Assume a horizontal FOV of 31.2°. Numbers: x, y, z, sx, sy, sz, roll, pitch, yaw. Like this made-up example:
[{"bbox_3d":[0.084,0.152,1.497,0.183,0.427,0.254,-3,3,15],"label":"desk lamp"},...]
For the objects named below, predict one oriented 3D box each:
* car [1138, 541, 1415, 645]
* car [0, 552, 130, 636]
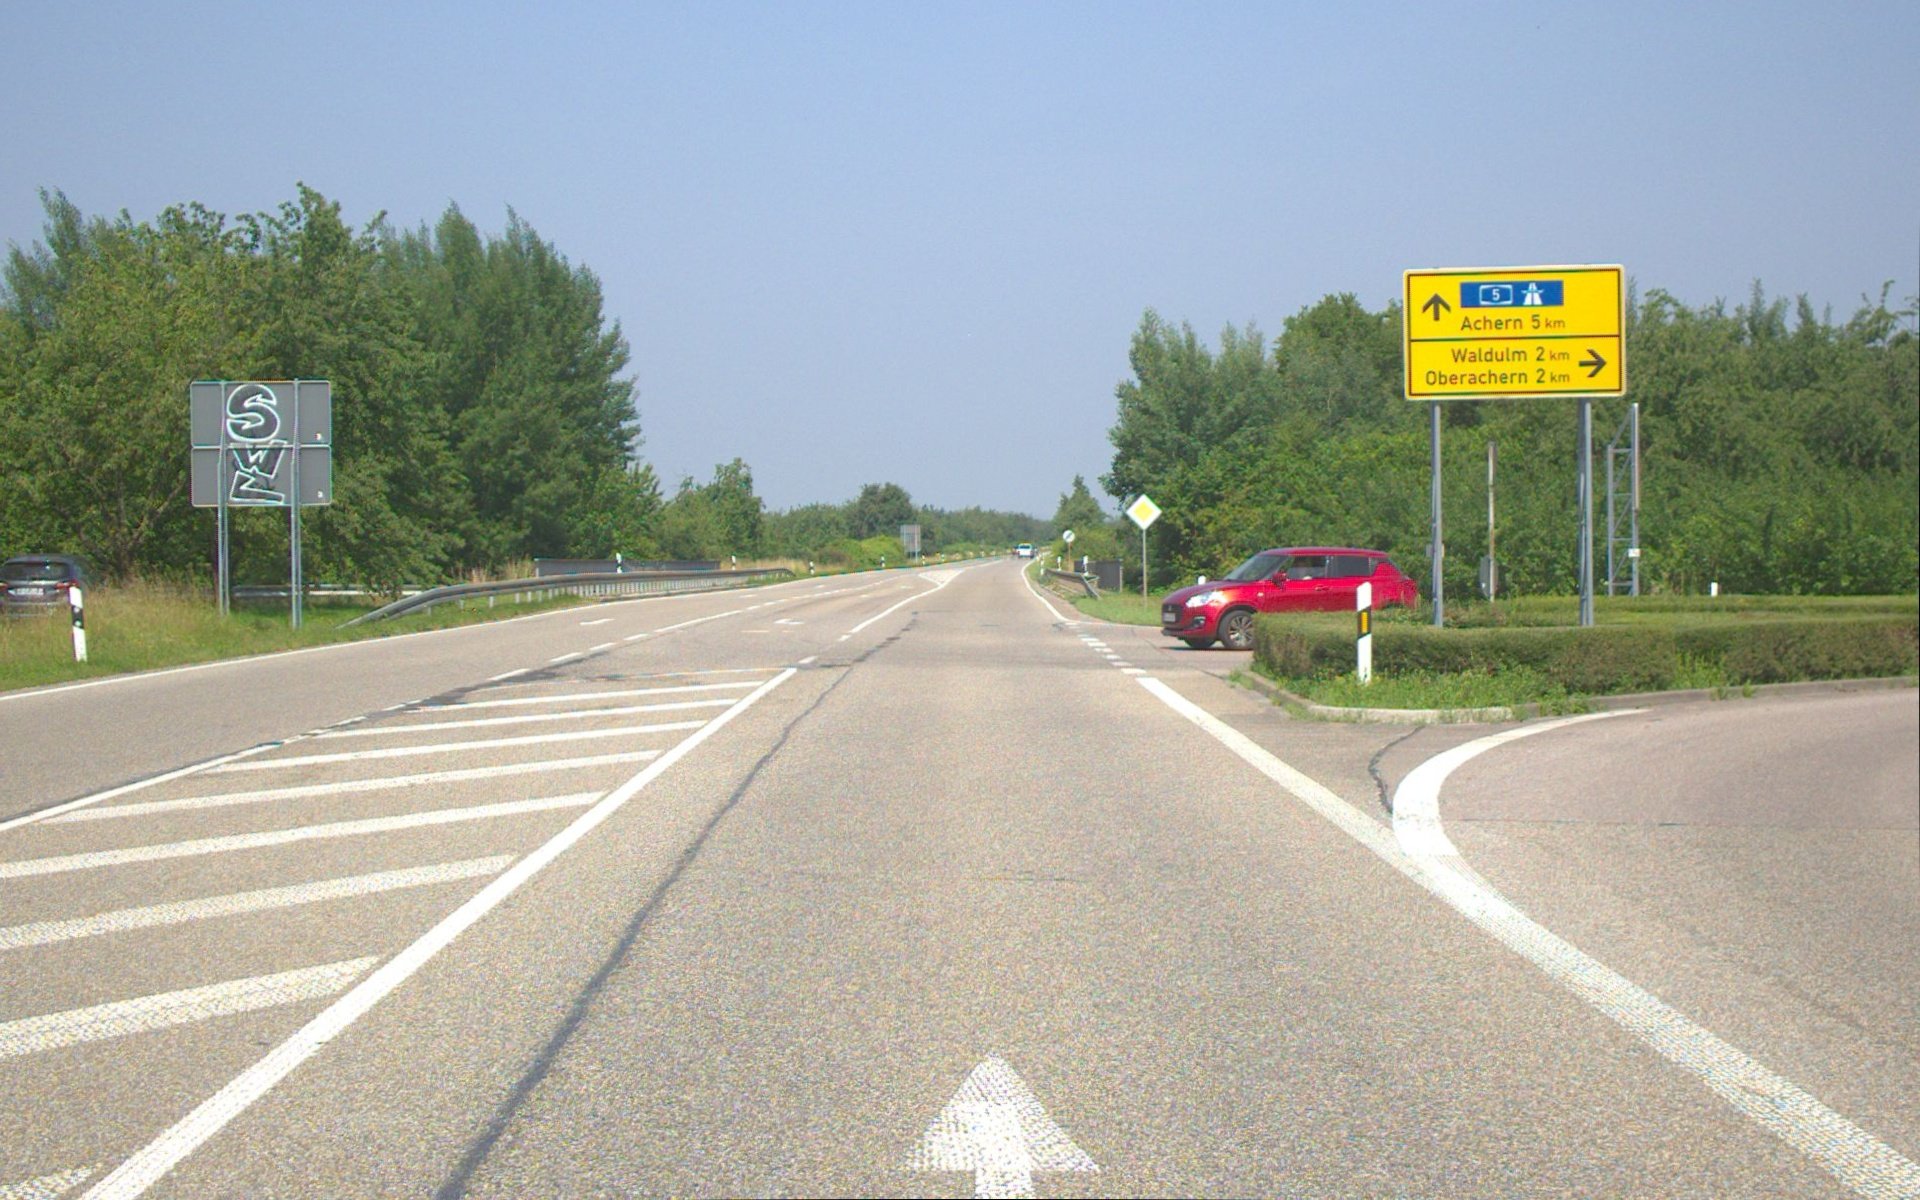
[{"bbox_3d":[4.708,-0.111,51.214,3.739,1.487,1.672,1,1,-17],"label":"car"},{"bbox_3d":[-15.954,-0.136,61.053,1.704,1.418,4.044,-1,1,-4],"label":"car"}]
